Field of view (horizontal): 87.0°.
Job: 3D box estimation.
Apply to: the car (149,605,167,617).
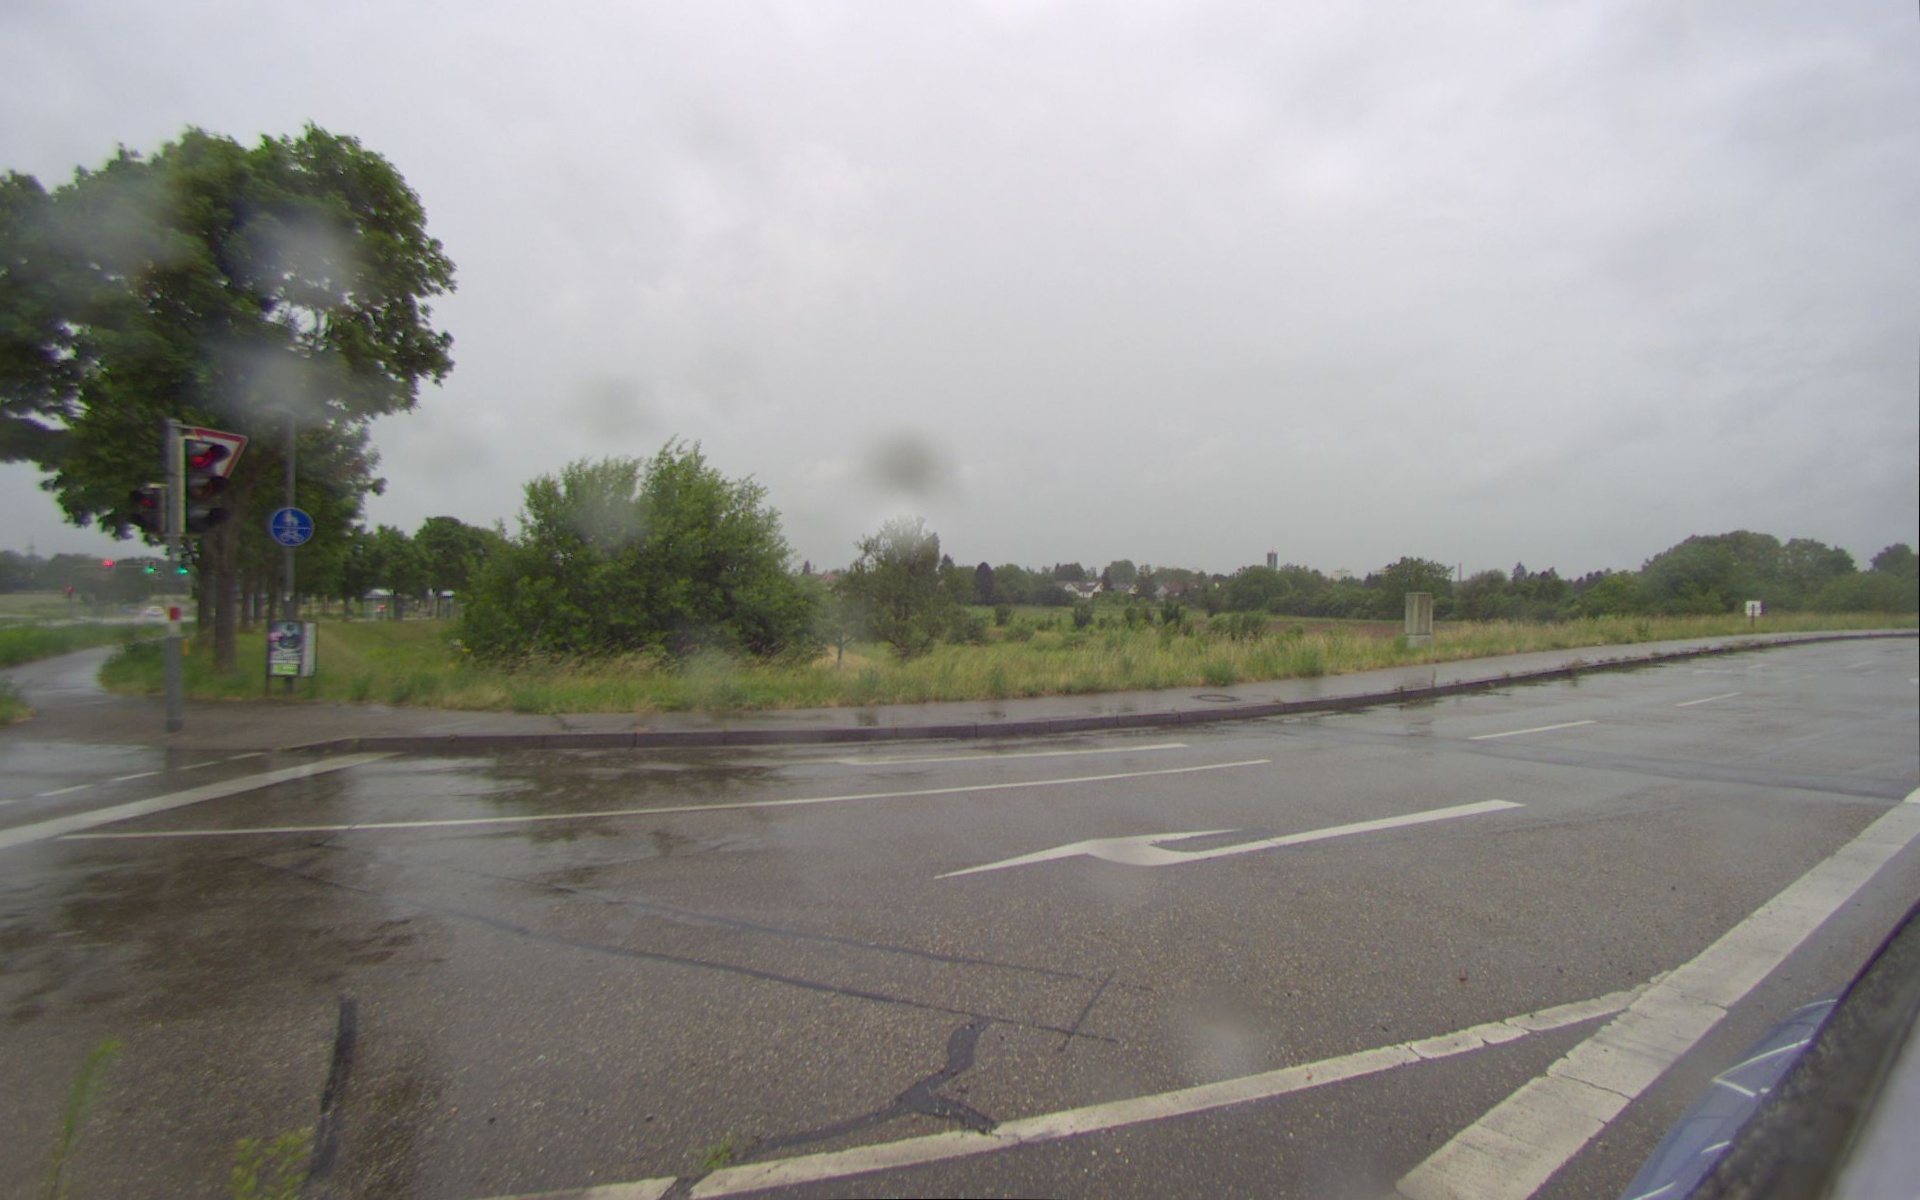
[{"bbox_3d":[-105.620,1.423,133.303,1.845,1.371,4.050,0,1,-37],"label":"car"}]
